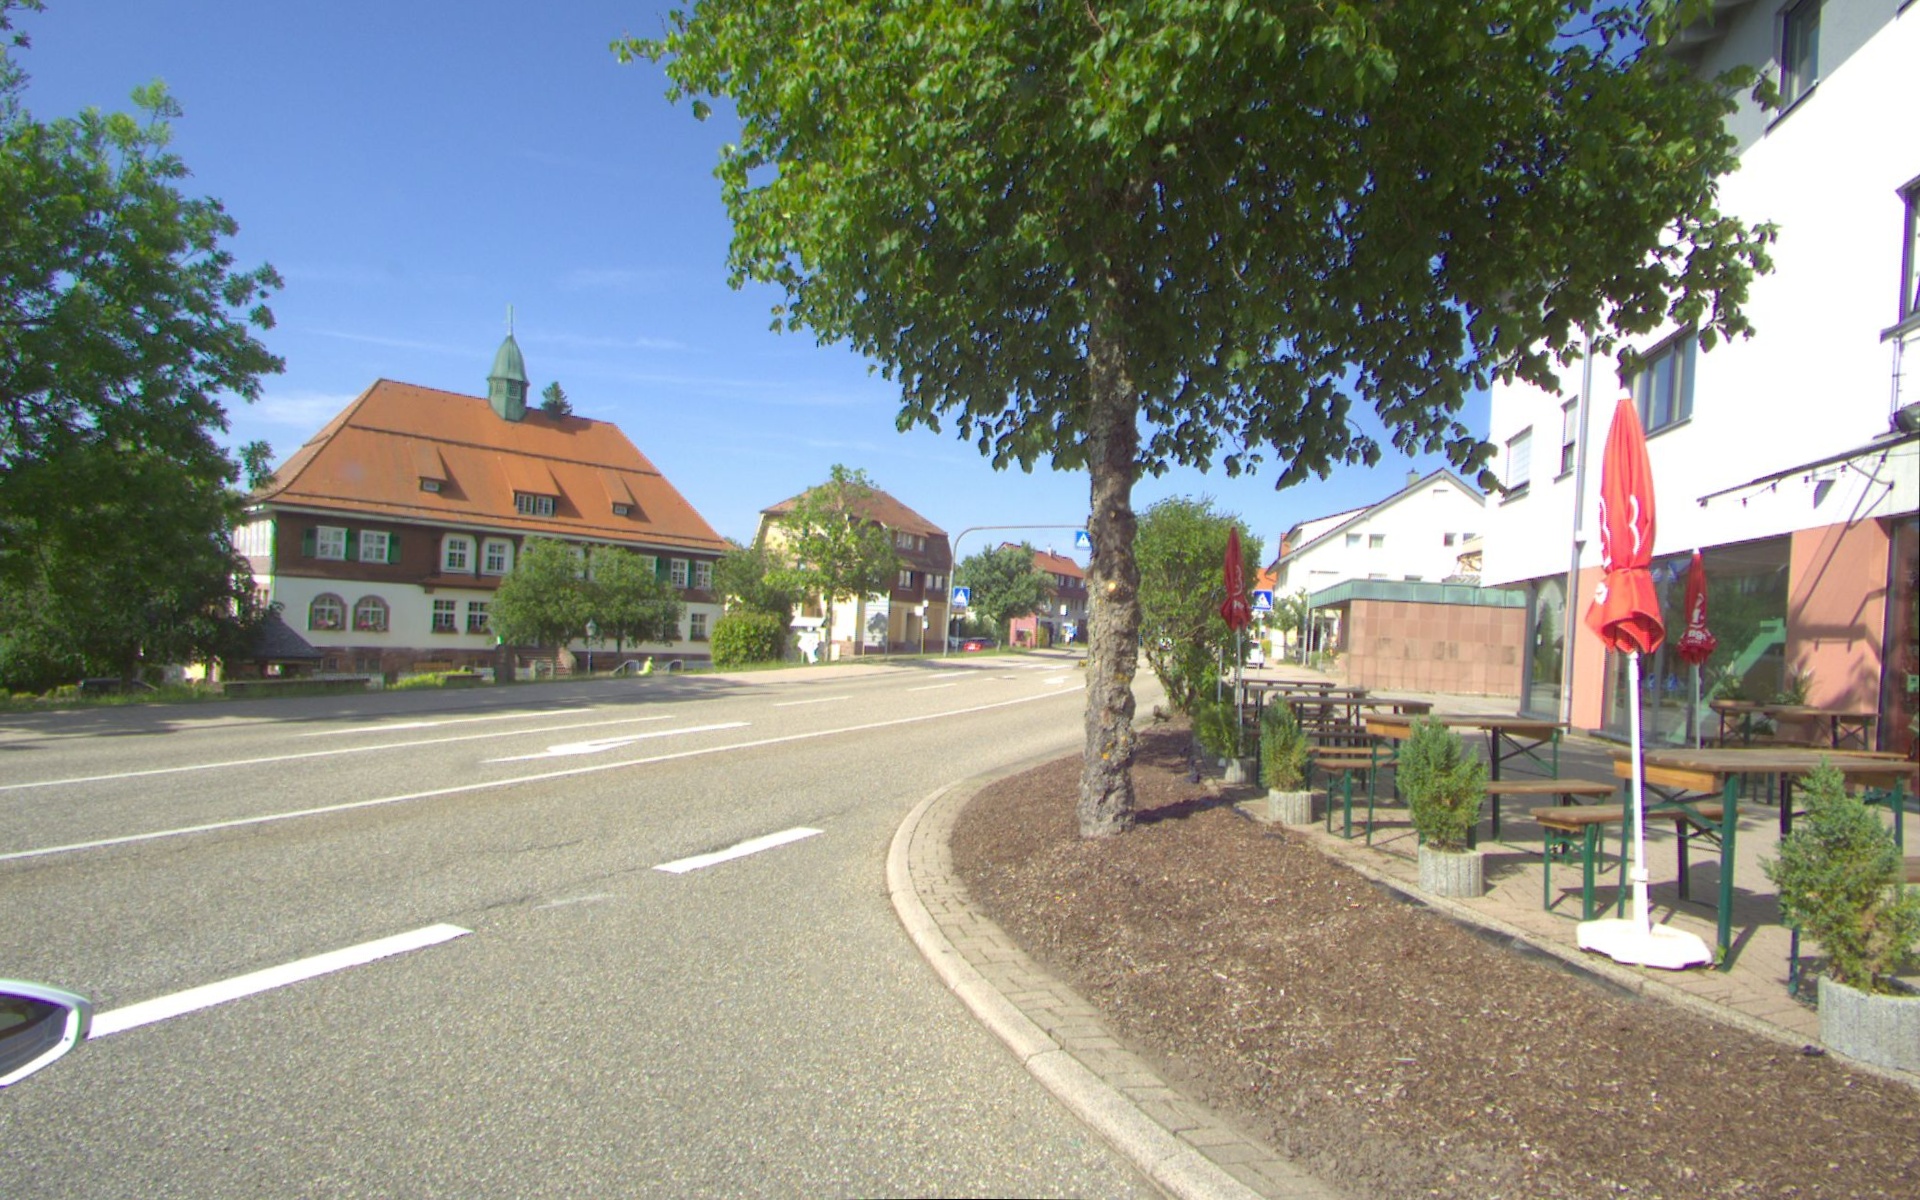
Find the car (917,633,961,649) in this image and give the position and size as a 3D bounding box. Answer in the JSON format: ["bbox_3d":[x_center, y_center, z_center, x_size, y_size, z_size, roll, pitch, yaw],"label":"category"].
[{"bbox_3d":[-1.960,3.786,92.772,3.648,1.451,1.774,-2,-2,19],"label":"car"}]

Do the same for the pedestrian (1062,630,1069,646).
[{"bbox_3d":[11.505,4.172,109.344,0.489,1.771,0.587,-1,-1,31],"label":"pedestrian"}]

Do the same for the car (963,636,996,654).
[{"bbox_3d":[1.657,3.684,82.052,1.744,1.451,3.710,-1,-2,17],"label":"car"}]

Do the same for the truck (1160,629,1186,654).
[{"bbox_3d":[21.401,4.153,100.593,1.964,2.372,6.487,2,-1,17],"label":"truck"}]

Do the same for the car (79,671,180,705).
[{"bbox_3d":[-41.617,4.367,50.239,1.696,1.463,3.751,-2,-2,44],"label":"car"}]

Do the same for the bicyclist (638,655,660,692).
[{"bbox_3d":[-16.981,4.010,54.657,0.576,1.949,0.989,-1,-2,44],"label":"bicyclist"}]

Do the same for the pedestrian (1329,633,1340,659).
[{"bbox_3d":[24.115,2.964,64.485,0.557,1.613,0.484,0,-1,16],"label":"pedestrian"}]

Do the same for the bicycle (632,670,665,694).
[{"bbox_3d":[-16.983,4.464,54.629,0.533,1.205,1.713,-1,-2,44],"label":"bicycle"}]
